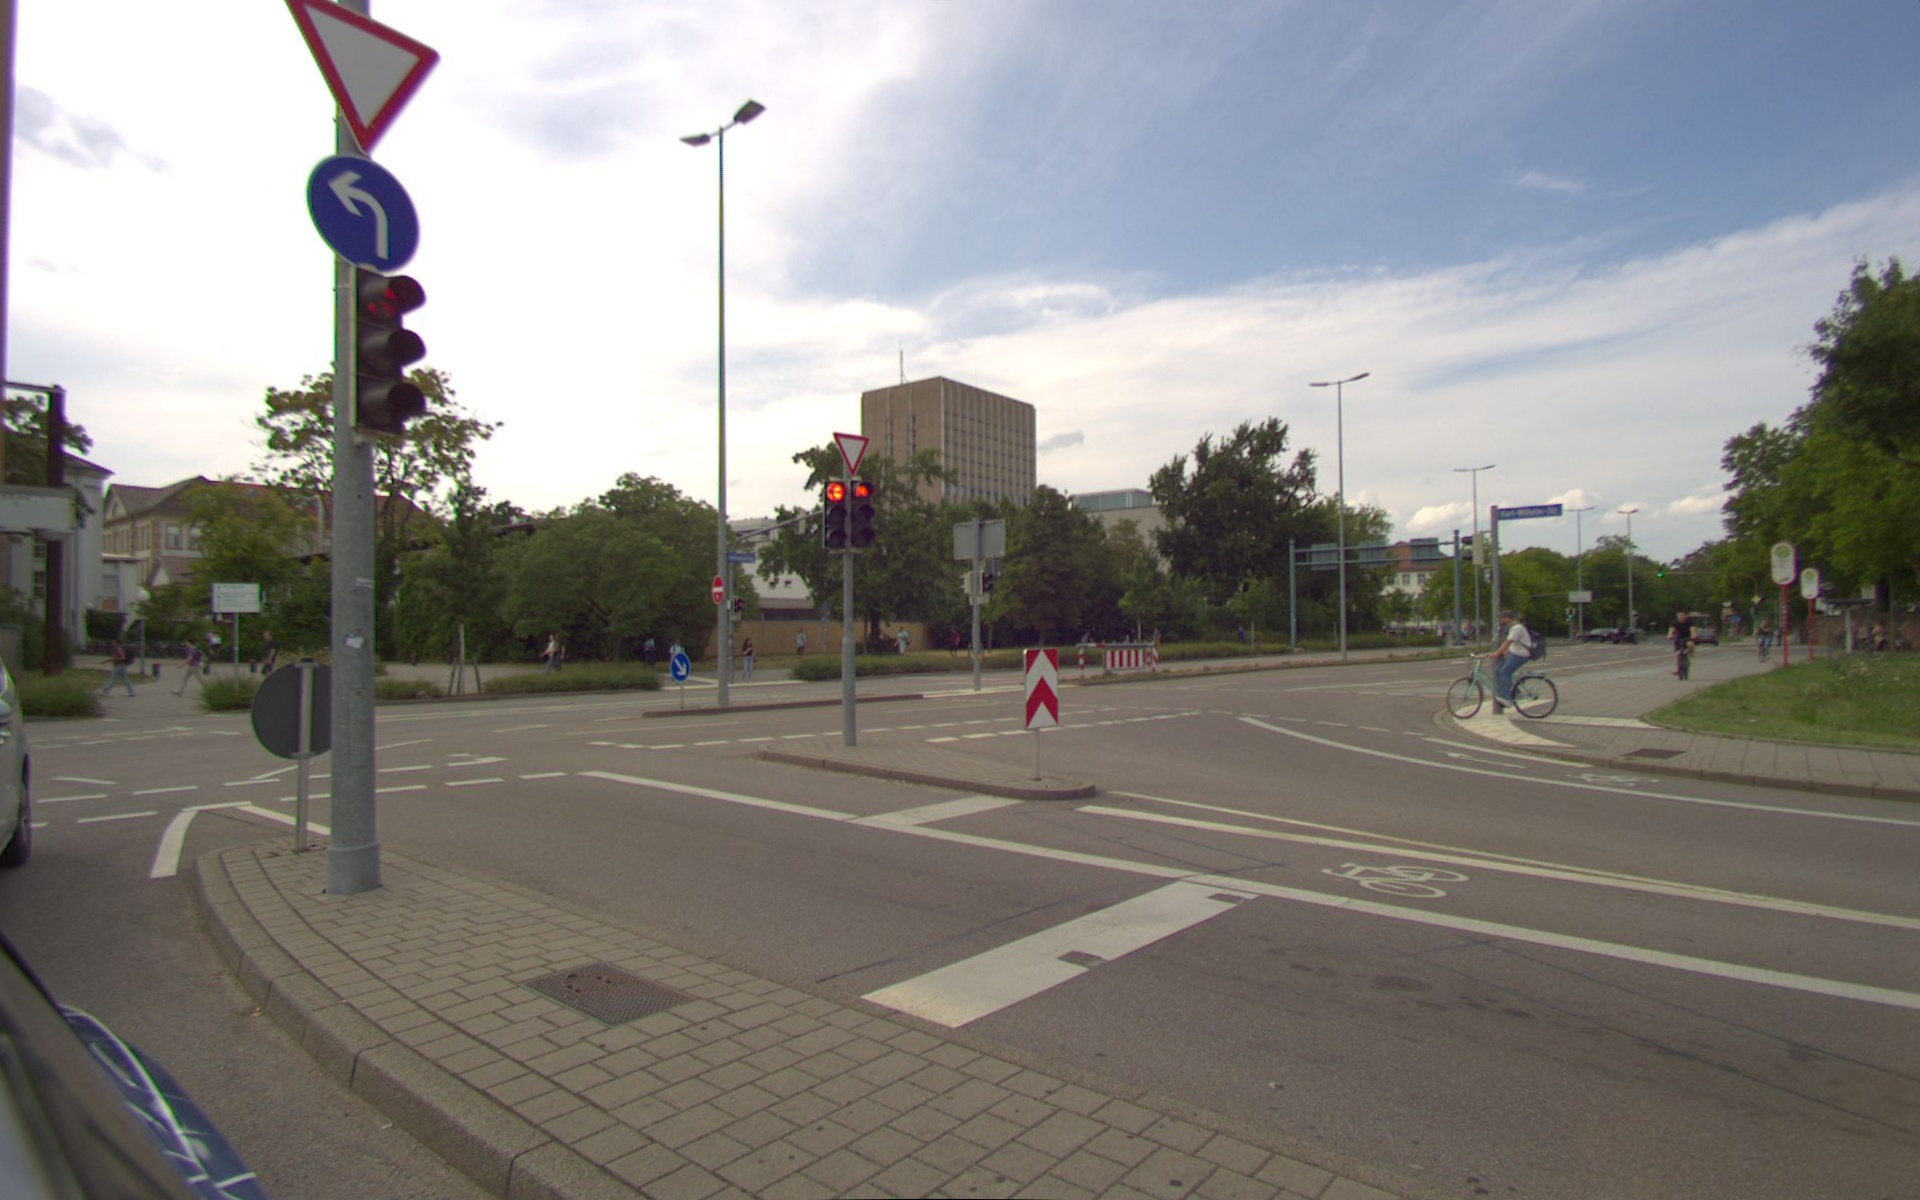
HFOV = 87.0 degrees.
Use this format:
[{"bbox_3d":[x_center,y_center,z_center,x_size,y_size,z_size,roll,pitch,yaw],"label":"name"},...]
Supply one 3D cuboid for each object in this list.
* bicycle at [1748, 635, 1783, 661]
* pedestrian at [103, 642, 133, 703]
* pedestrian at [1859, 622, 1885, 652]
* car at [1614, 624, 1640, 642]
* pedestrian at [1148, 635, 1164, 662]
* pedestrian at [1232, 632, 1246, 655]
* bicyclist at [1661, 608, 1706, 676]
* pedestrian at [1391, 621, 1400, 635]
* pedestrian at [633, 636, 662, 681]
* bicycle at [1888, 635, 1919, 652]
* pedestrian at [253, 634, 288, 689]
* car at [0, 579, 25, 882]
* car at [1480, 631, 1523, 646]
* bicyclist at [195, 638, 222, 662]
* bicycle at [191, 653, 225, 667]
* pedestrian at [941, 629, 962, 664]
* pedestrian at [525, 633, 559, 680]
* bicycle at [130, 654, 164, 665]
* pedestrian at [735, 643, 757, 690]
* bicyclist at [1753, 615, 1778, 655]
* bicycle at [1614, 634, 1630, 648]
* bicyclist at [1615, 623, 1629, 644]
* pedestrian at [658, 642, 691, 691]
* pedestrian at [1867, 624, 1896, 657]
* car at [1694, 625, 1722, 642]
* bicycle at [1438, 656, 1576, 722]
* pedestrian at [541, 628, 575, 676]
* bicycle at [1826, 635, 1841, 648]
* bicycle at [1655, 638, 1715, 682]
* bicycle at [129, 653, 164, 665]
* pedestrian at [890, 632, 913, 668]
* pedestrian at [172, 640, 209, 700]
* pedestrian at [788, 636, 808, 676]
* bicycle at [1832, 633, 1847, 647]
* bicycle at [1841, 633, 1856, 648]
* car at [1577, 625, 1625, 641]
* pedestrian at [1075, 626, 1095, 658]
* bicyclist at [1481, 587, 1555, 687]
[{"bbox_3d":[32.382,1.926,40.660,1.939,0.943,0.507,-2,-1,-34],"label":"bicycle"},{"bbox_3d":[-24.575,2.105,29.536,0.624,1.724,0.674,1,-4,-44],"label":"pedestrian"},{"bbox_3d":[50.508,2.042,56.052,0.749,1.634,0.661,-3,-3,19],"label":"pedestrian"},{"bbox_3d":[60.007,2.949,91.071,1.783,1.501,4.087,0,-1,31],"label":"car"},{"bbox_3d":[12.985,3.201,67.028,0.714,1.724,0.685,-5,-4,42],"label":"pedestrian"},{"bbox_3d":[20.855,3.243,75.713,0.714,1.724,0.685,-5,-4,42],"label":"pedestrian"},{"bbox_3d":[17.434,1.006,24.390,0.784,1.567,0.581,-2,-1,-34],"label":"bicyclist"},{"bbox_3d":[53.303,3.425,123.846,0.769,1.724,0.685,-5,-4,42],"label":"pedestrian"},{"bbox_3d":[-12.452,2.321,40.322,0.714,1.724,0.789,-5,-4,39],"label":"pedestrian"},{"bbox_3d":[52.010,2.398,55.789,0.657,0.894,1.564,-5,-4,22],"label":"bicycle"},{"bbox_3d":[-22.025,1.961,32.338,0.788,1.724,0.840,1,-4,-44],"label":"pedestrian"},{"bbox_3d":[-5.855,0.718,4.810,1.796,1.747,4.536,0,-4,-39],"label":"car"},{"bbox_3d":[58.841,4.135,110.018,1.759,1.501,4.143,1,0,-17],"label":"car"},{"bbox_3d":[-40.332,2.691,54.351,0.826,1.287,1.015,-2,-3,-13],"label":"bicyclist"},{"bbox_3d":[-40.307,3.199,54.274,0.829,0.699,1.849,-2,-3,-13],"label":"bicycle"},{"bbox_3d":[-0.427,2.376,51.918,0.714,1.724,0.685,-5,-4,42],"label":"pedestrian"},{"bbox_3d":[-15.483,2.088,37.493,0.835,1.724,0.792,-4,-3,27],"label":"pedestrian"},{"bbox_3d":[-55.238,4.037,68.780,1.816,0.699,0.653,0,-4,-40],"label":"bicycle"},{"bbox_3d":[-7.920,2.450,37.422,0.579,1.724,0.482,1,-4,-42],"label":"pedestrian"},{"bbox_3d":[32.377,1.407,40.680,0.784,1.567,0.496,-2,-1,-34],"label":"bicyclist"},{"bbox_3d":[56.735,3.524,86.757,0.759,1.198,2.068,0,-2,44],"label":"bicycle"},{"bbox_3d":[56.731,2.884,86.739,1.070,1.724,0.779,3,-2,-45],"label":"bicyclist"},{"bbox_3d":[-10.246,2.396,36.335,0.827,1.724,0.801,1,-4,-42],"label":"pedestrian"},{"bbox_3d":[45.602,2.003,50.105,0.749,1.634,0.661,-3,-3,19],"label":"pedestrian"},{"bbox_3d":[68.031,3.037,91.985,1.699,1.492,4.357,-5,-4,40],"label":"car"},{"bbox_3d":[8.863,1.440,16.426,1.942,0.943,0.506,-2,-1,-4],"label":"bicycle"},{"bbox_3d":[-14.733,1.900,37.116,0.835,1.724,0.792,-4,-3,27],"label":"pedestrian"},{"bbox_3d":[59.959,2.840,69.482,0.432,0.894,1.559,-6,-5,31],"label":"bicycle"},{"bbox_3d":[17.504,1.428,24.417,1.939,0.943,0.507,-2,-1,-34],"label":"bicycle"},{"bbox_3d":[-54.106,3.915,67.311,1.816,0.699,0.653,0,-4,-40],"label":"bicycle"},{"bbox_3d":[-2.865,2.452,49.492,0.841,1.724,0.686,-5,-4,39],"label":"pedestrian"},{"bbox_3d":[-22.975,2.093,30.202,0.788,1.724,0.840,1,-4,-44],"label":"pedestrian"},{"bbox_3d":[-7.211,2.483,45.086,0.544,1.709,0.686,0,-1,39],"label":"pedestrian"},{"bbox_3d":[59.001,2.702,67.874,0.432,0.894,1.559,-6,-5,31],"label":"bicycle"},{"bbox_3d":[58.232,2.655,66.335,0.432,0.894,1.559,-6,-5,31],"label":"bicycle"},{"bbox_3d":[63.094,3.217,99.739,1.762,1.501,4.136,0,0,-7],"label":"car"},{"bbox_3d":[6.985,2.347,56.503,0.683,1.724,0.735,1,-4,-44],"label":"pedestrian"},{"bbox_3d":[9.053,0.594,16.444,0.786,1.567,0.580,-2,-1,-4],"label":"bicyclist"}]
